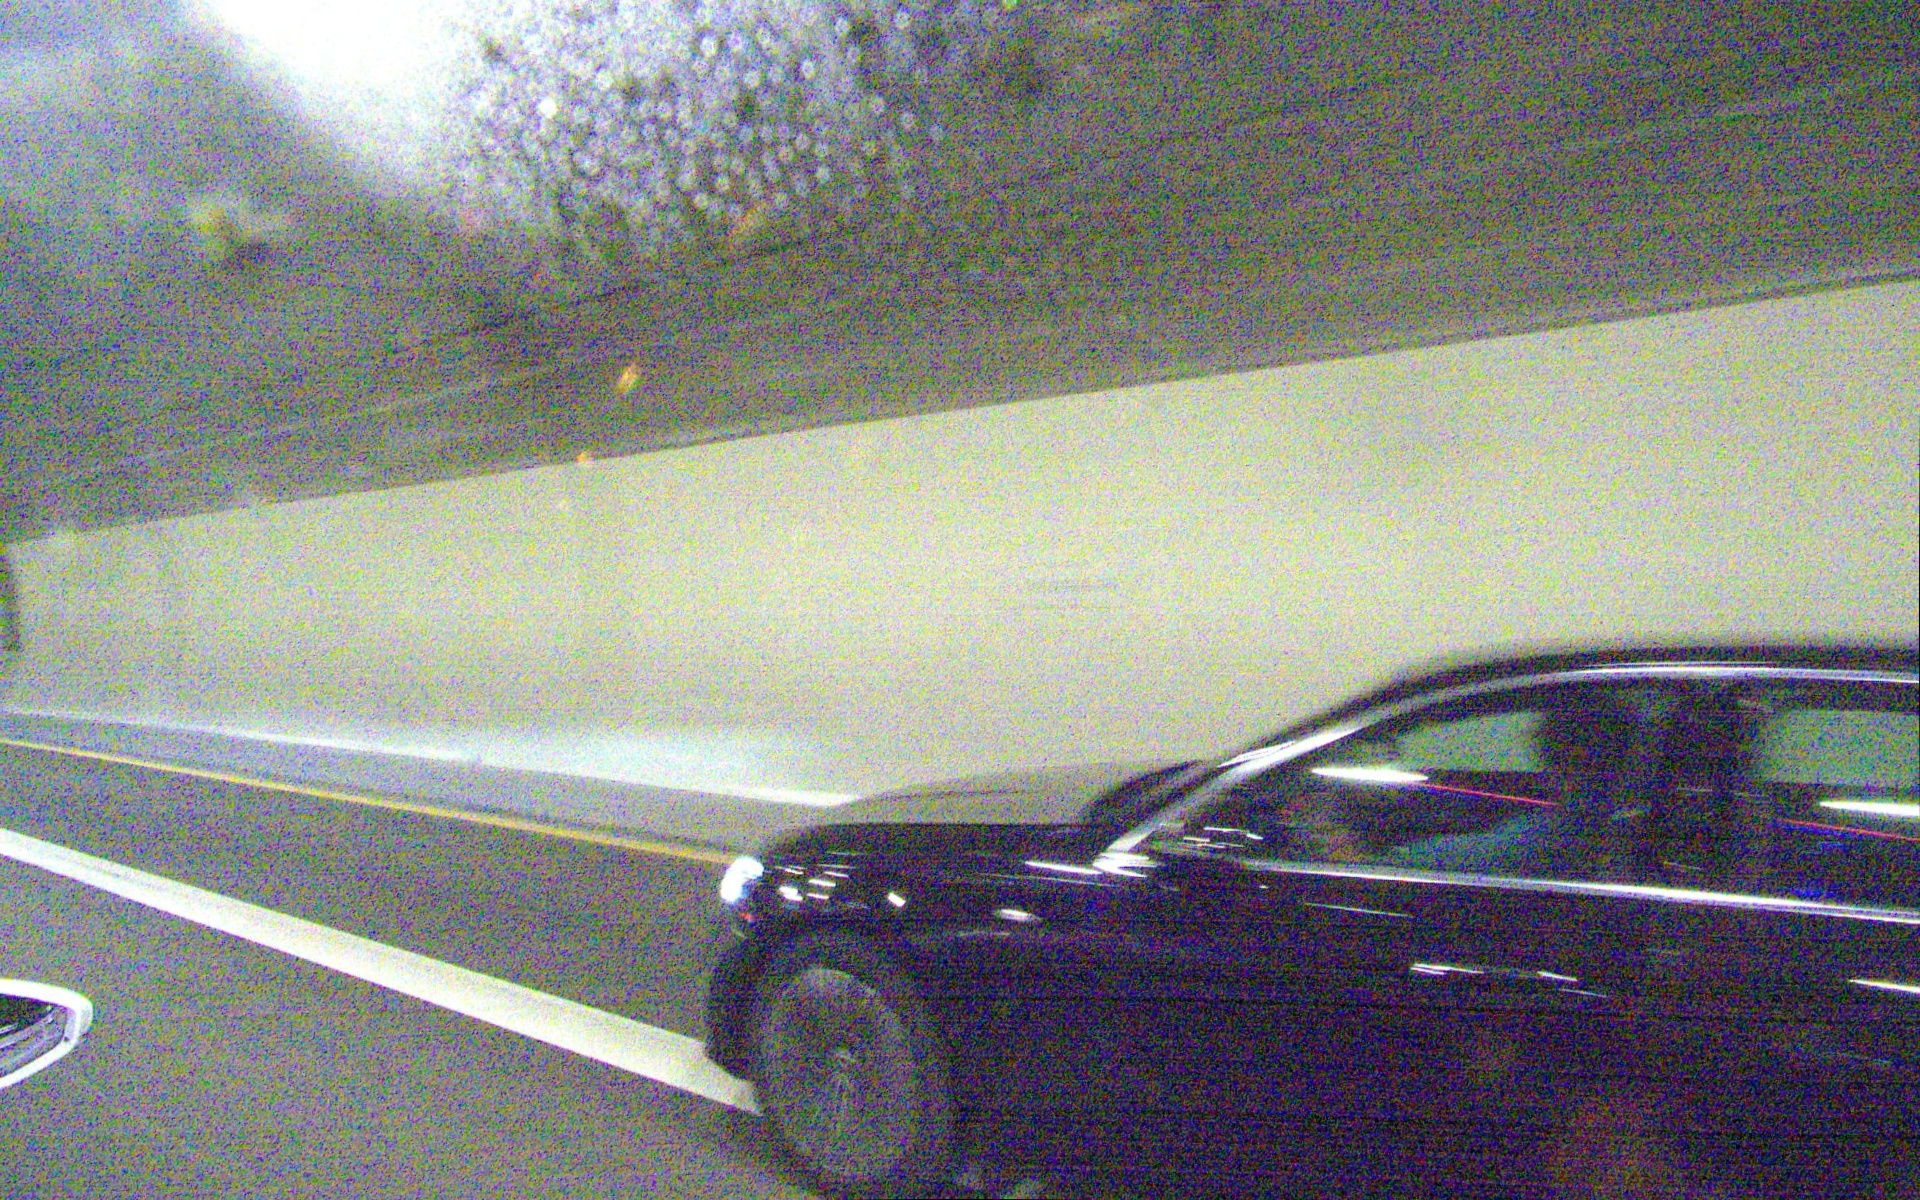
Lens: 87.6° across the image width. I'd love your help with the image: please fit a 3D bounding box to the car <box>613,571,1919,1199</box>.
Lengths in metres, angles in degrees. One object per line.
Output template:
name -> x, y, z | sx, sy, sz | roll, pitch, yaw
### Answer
car -> 1.462, 0.748, 2.686 | 4.884, 1.491, 1.922 | -1, -2, 33
